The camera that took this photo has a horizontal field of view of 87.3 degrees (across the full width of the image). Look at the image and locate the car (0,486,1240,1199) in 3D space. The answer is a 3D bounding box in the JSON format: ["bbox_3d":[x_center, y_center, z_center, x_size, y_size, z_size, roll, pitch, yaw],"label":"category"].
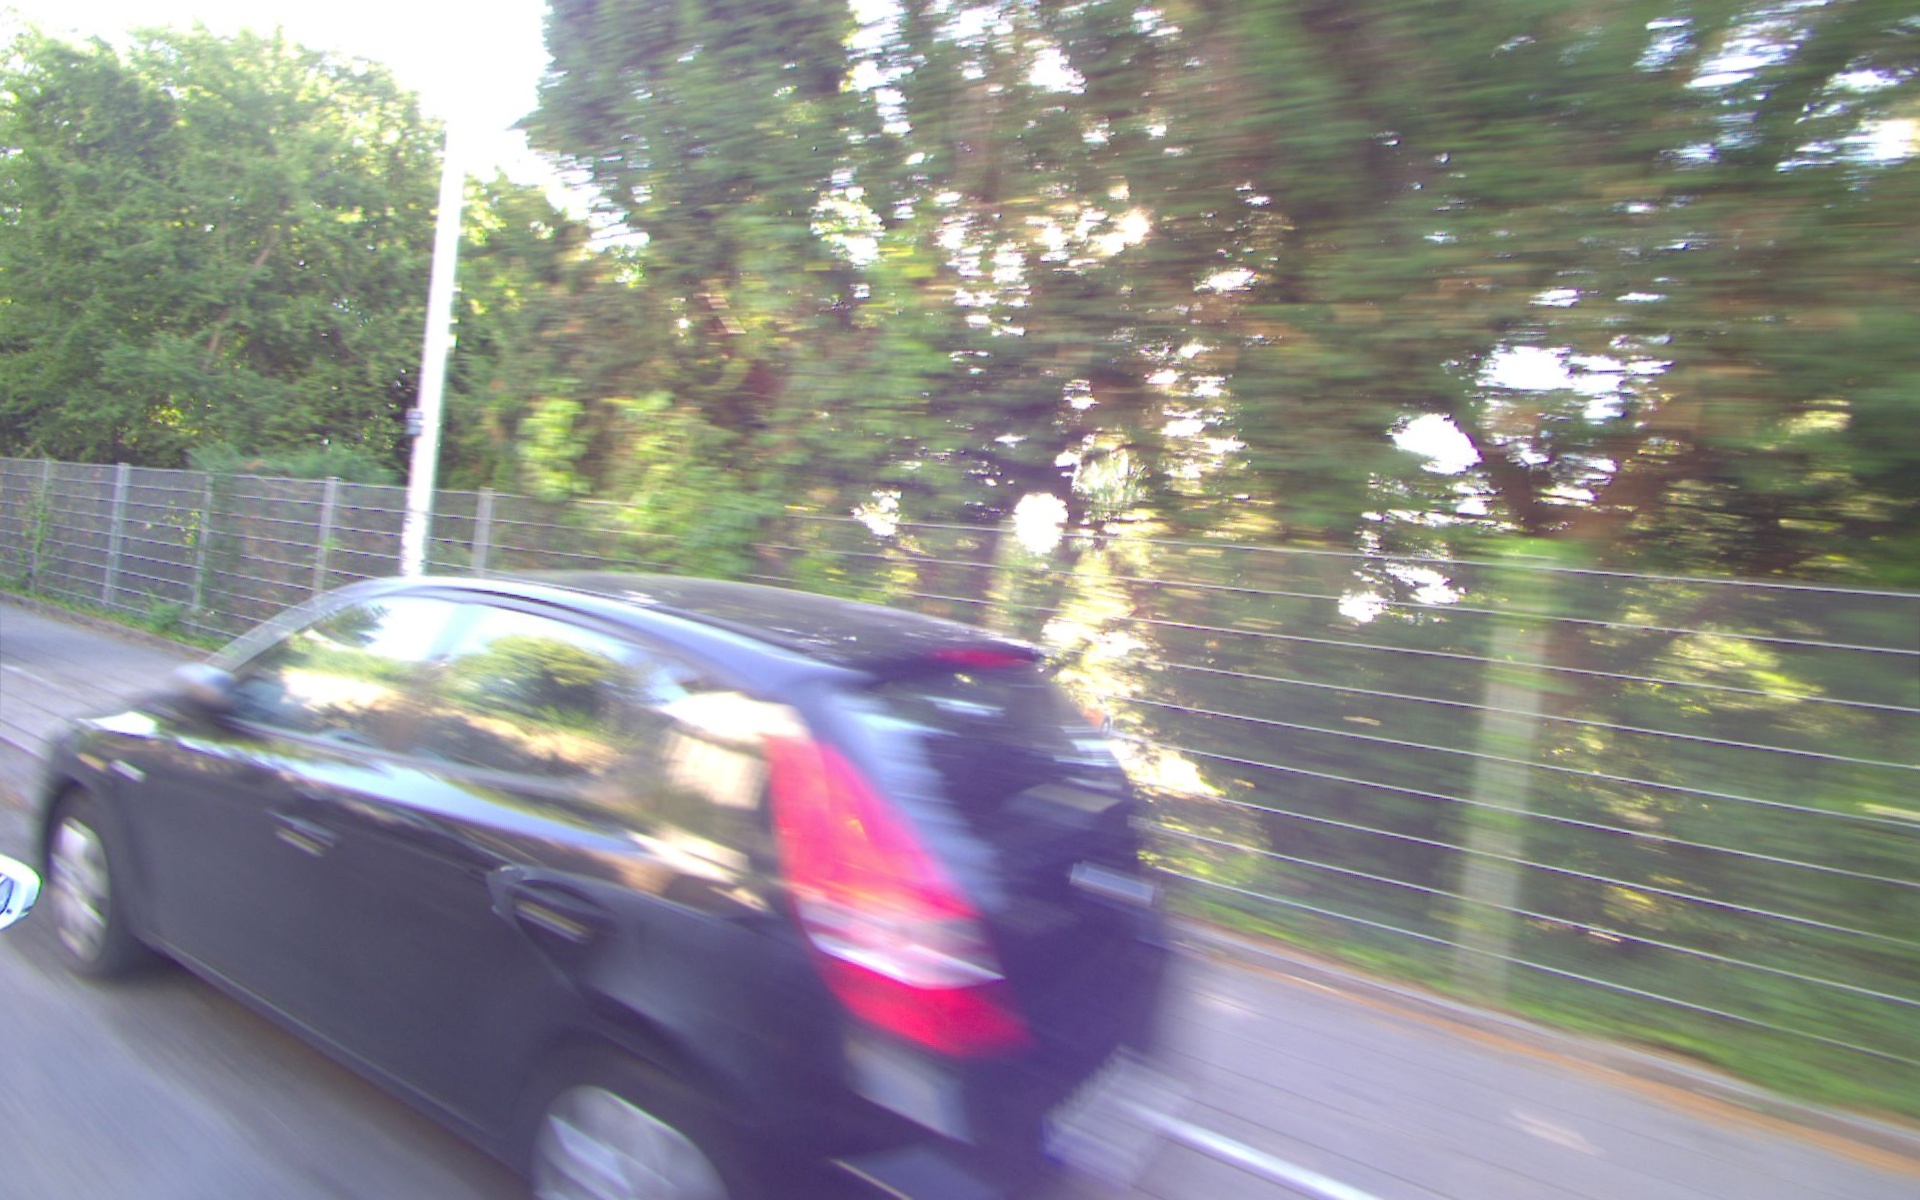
[{"bbox_3d":[-1.353,0.585,3.327,3.934,1.458,1.797,7,-1,32],"label":"car"}]
